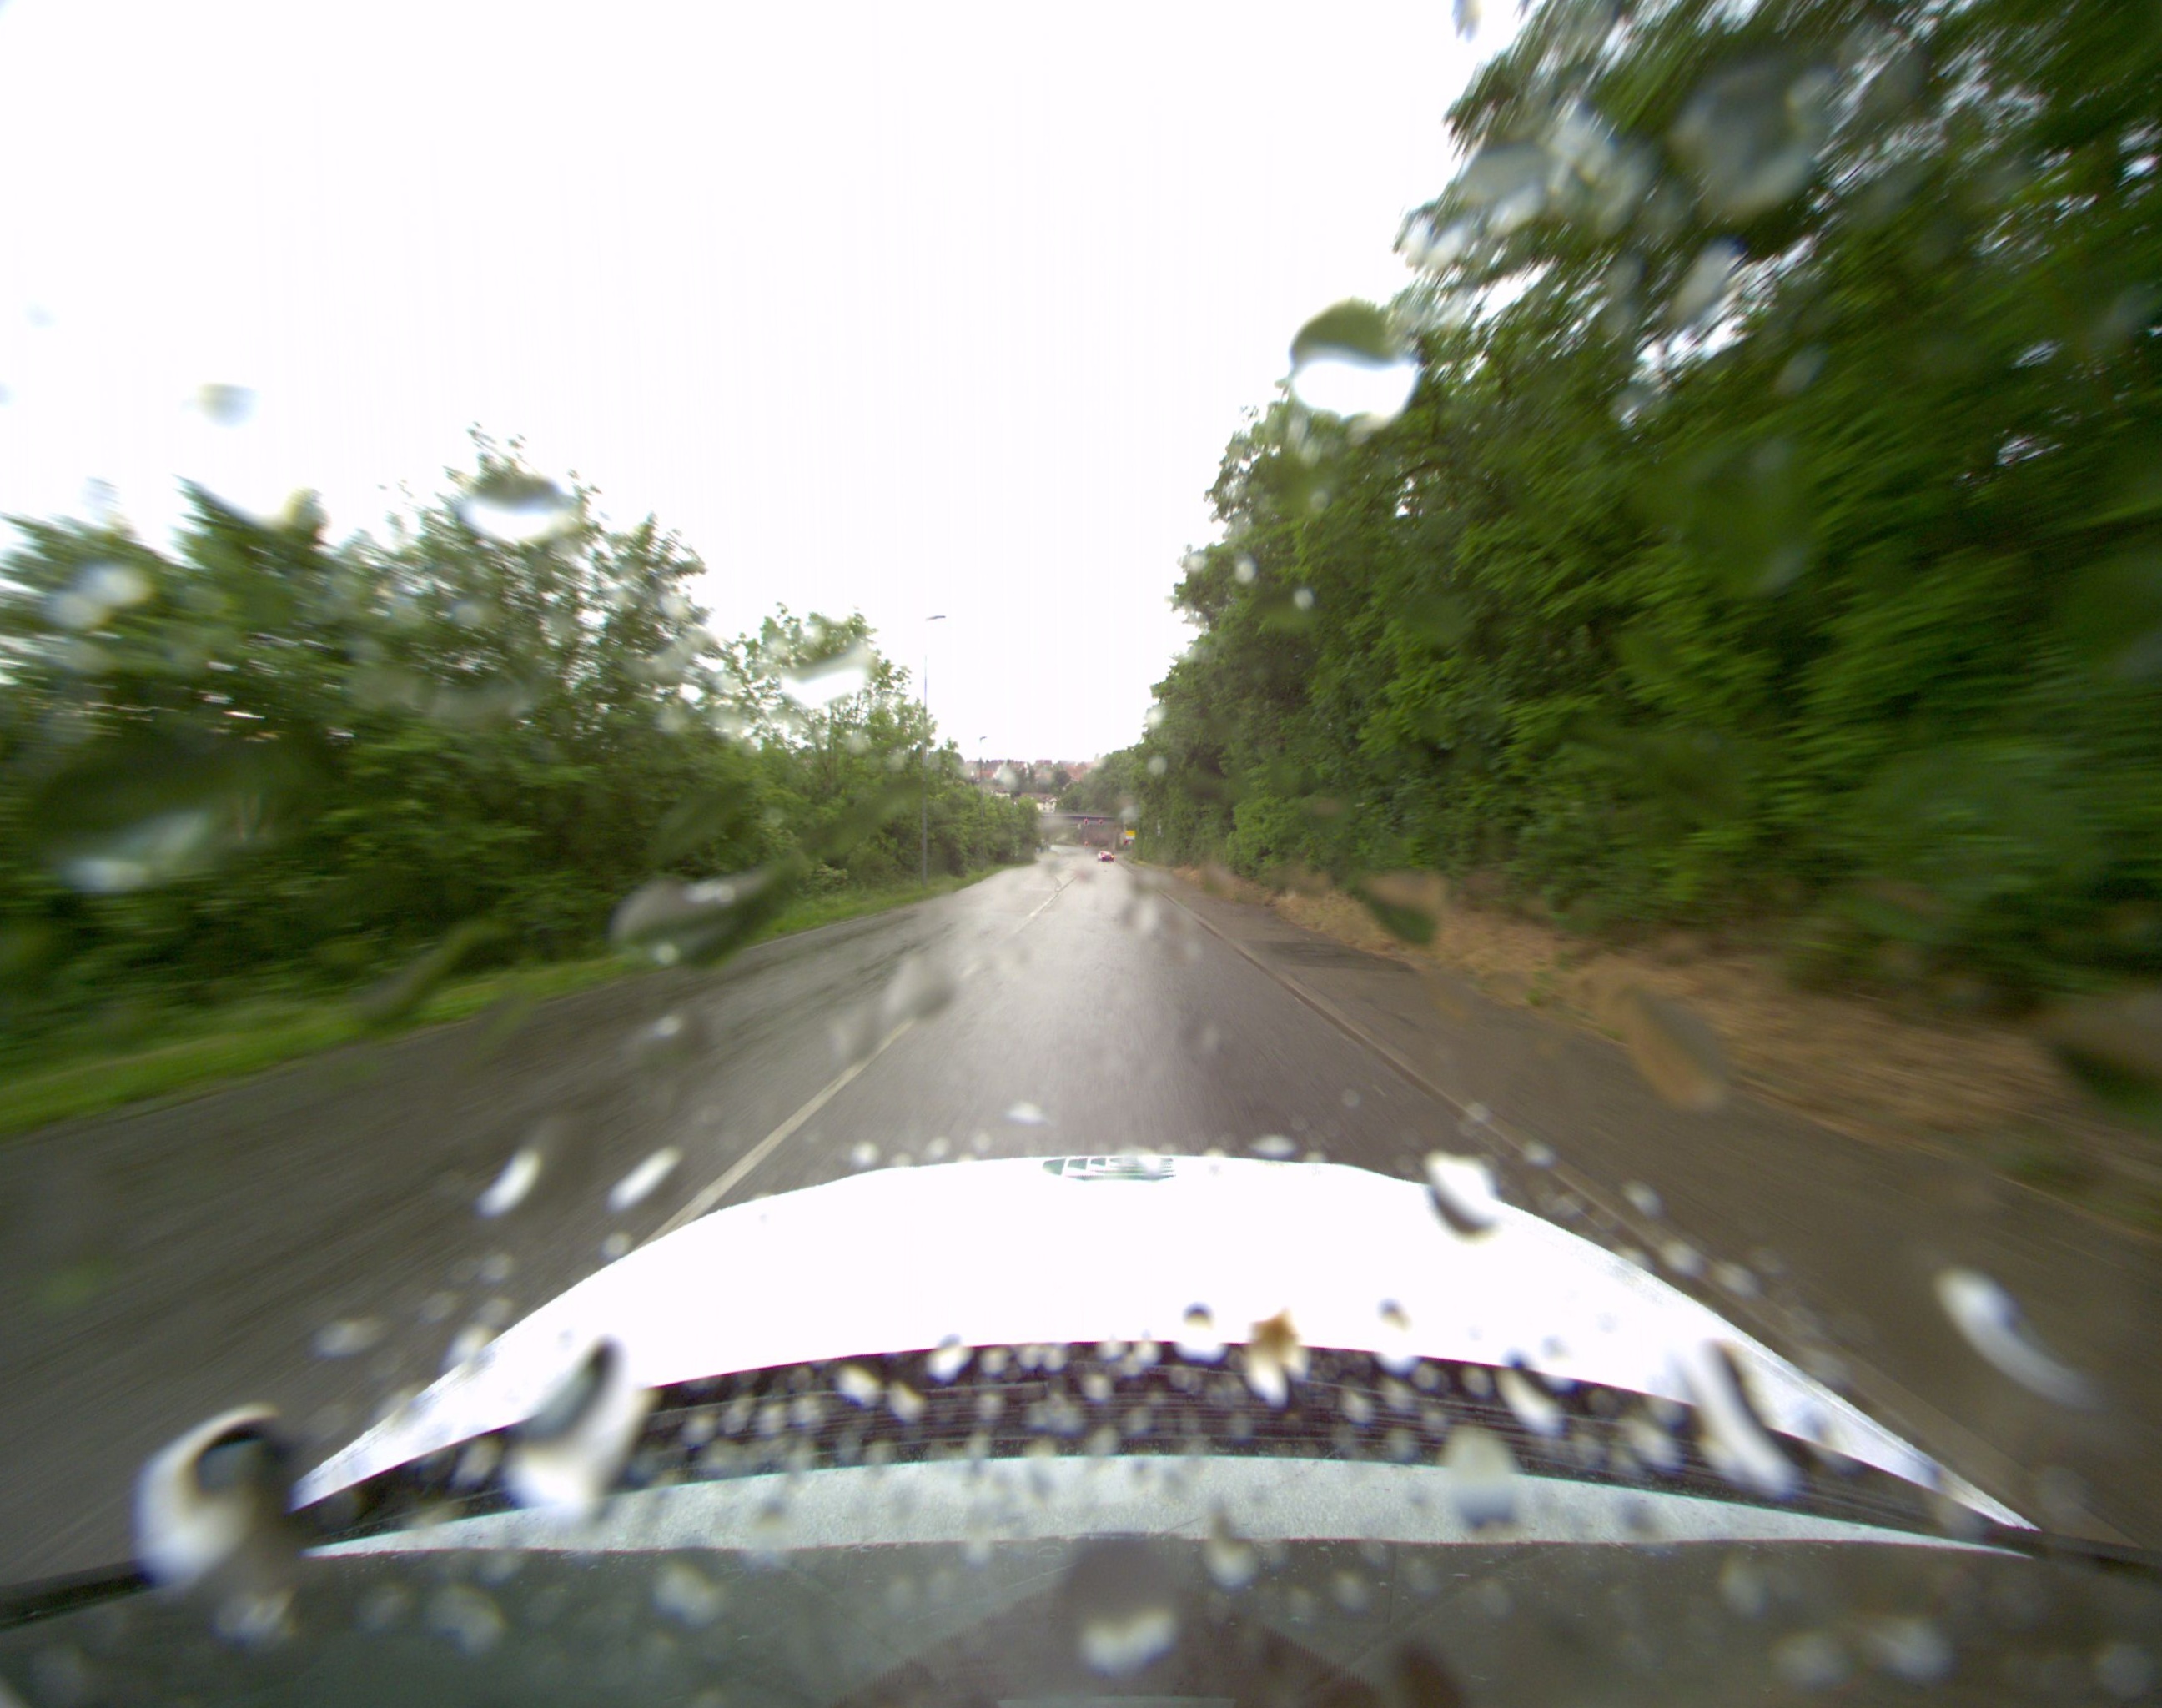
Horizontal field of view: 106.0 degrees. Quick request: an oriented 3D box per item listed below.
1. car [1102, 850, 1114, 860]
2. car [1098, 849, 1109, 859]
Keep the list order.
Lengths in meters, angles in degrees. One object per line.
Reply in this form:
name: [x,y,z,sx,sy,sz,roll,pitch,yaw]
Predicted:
car: [4.083,0.170,122.145,1.761,1.380,4.002,-1,0,2]
car: [3.565,-0.046,128.712,1.761,1.563,4.002,-1,0,2]
